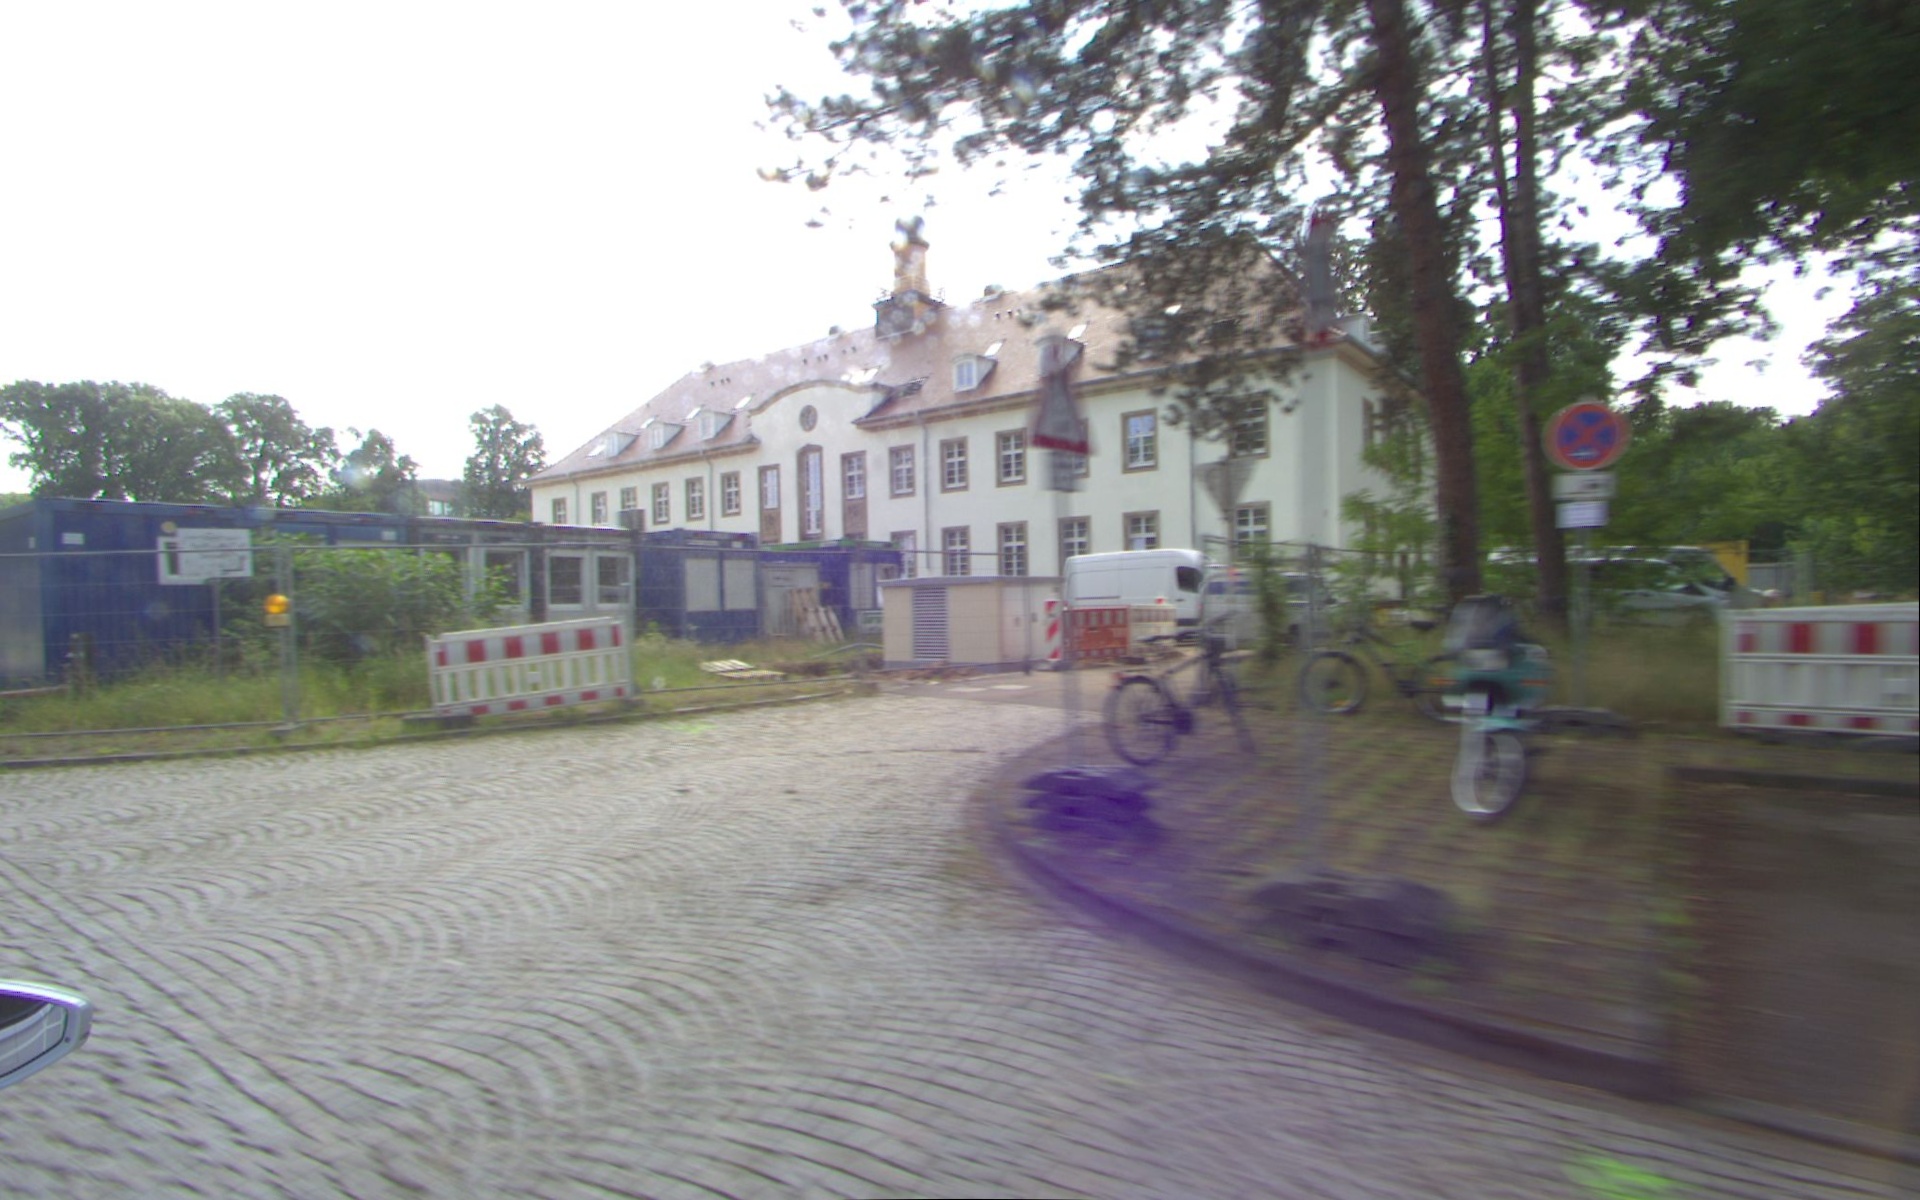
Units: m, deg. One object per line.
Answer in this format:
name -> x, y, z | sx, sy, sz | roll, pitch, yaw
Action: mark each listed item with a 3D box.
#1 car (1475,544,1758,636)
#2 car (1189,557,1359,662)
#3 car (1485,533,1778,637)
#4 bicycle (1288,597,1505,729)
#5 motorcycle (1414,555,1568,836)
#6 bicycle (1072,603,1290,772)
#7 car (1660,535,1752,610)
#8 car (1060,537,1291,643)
car -> 14.249, -0.167, 22.036 | 4.781, 1.848, 2.000 | -1, -1, 10
car -> 6.694, 0.150, 20.993 | 1.882, 1.947, 4.840 | 1, 1, 37
car -> 17.932, -0.347, 27.040 | 6.299, 2.611, 2.000 | -1, -1, 7
bicycle -> 4.291, 0.570, 9.939 | 1.881, 1.185, 0.639 | 0, 2, 39
motorcycle -> 3.514, 0.500, 6.527 | 0.746, 1.505, 2.272 | -1, 1, 31
bicycle -> 1.860, 0.659, 8.281 | 1.880, 1.213, 0.651 | -2, 1, -35
car -> 23.978, -0.761, 32.208 | 2.184, 2.122, 6.121 | -1, -1, 37
car -> 5.686, -0.163, 27.022 | 5.838, 2.589, 1.986 | -2, -1, 39
